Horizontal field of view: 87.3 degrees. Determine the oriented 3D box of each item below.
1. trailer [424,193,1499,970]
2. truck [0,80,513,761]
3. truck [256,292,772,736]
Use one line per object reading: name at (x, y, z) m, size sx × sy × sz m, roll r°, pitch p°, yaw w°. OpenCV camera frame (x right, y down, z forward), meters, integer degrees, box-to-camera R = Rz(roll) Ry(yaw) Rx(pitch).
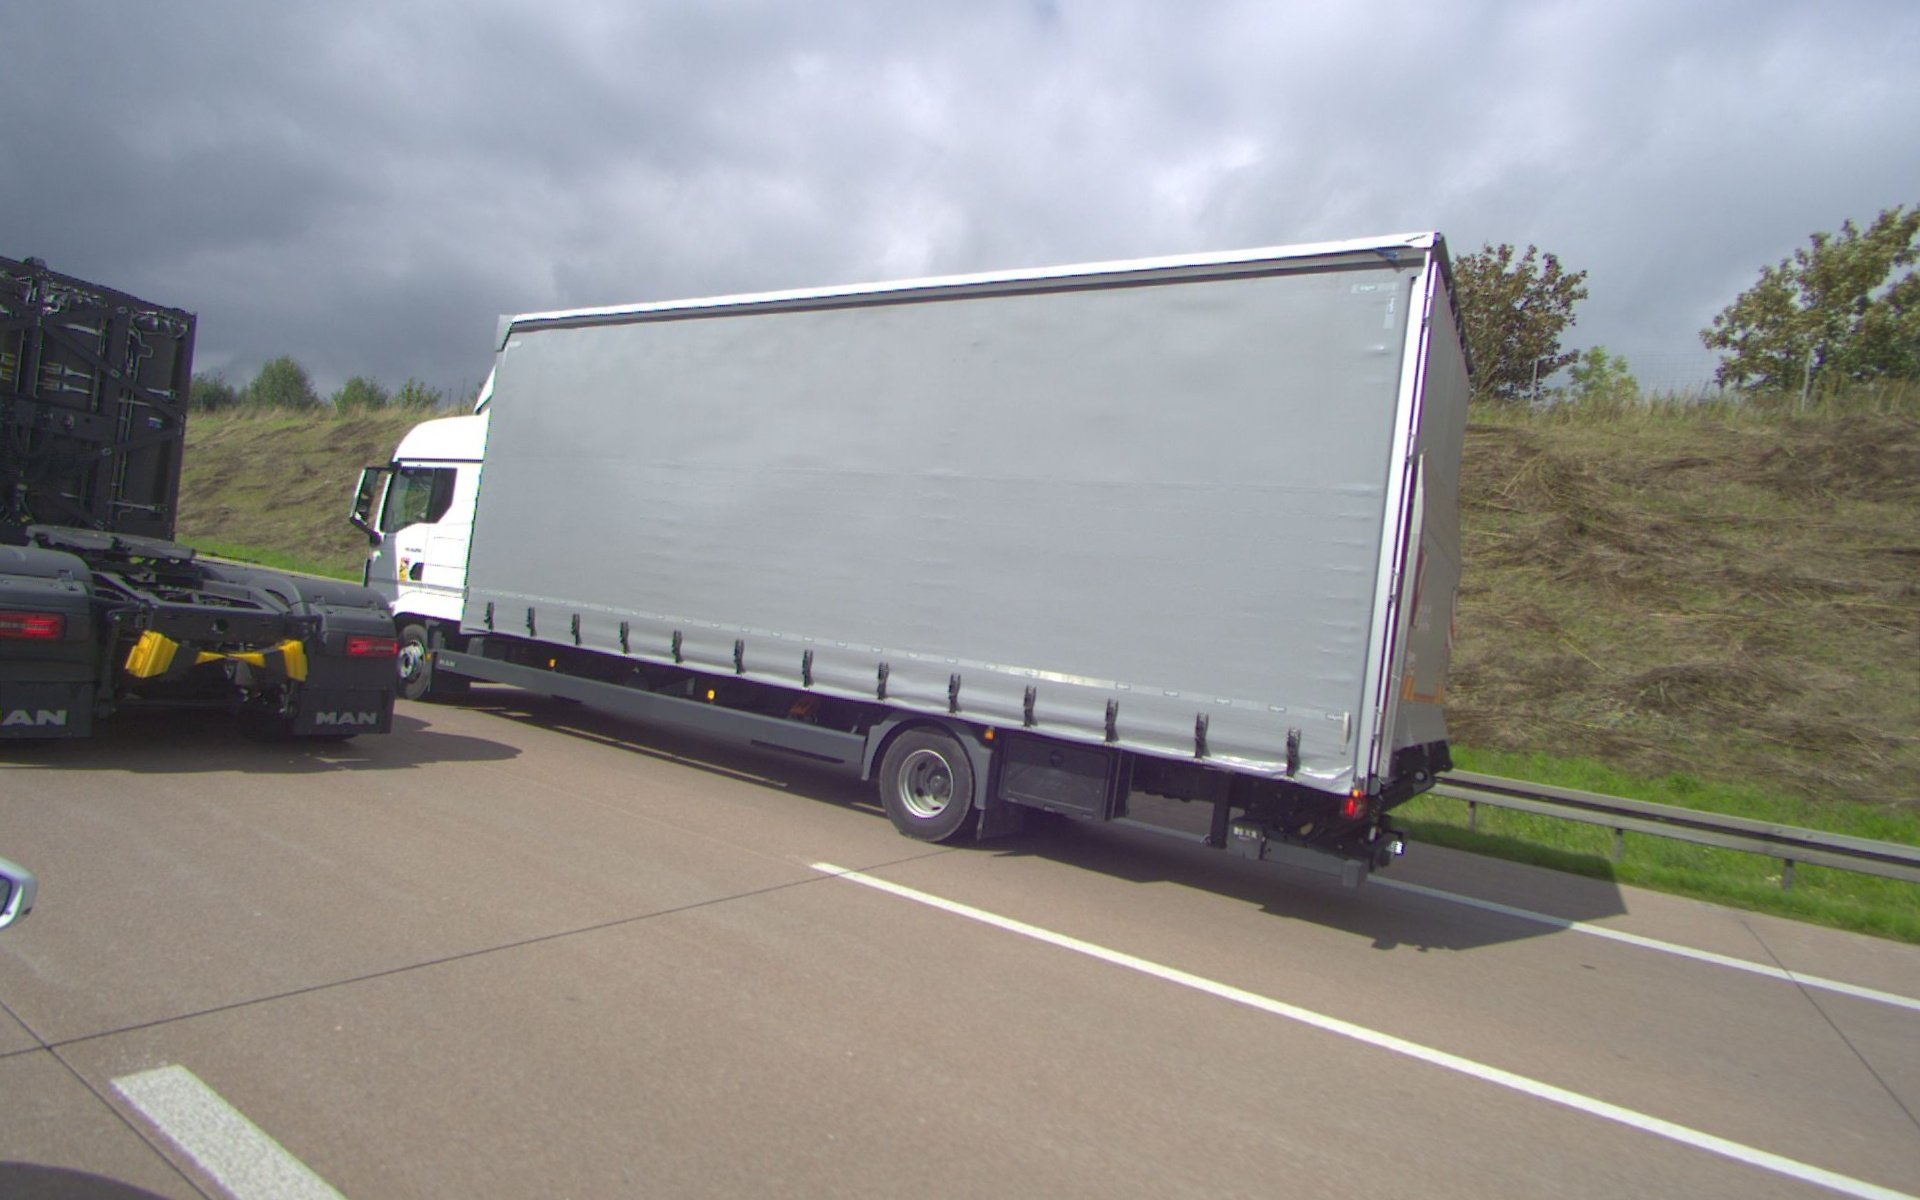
trailer at (-0.492, -0.378, 8.563) m, size 8.524 × 4.059 × 2.753 m, roll 6°, pitch -1°, yaw 30°
truck at (-7.856, -1.185, 8.566) m, size 8.179 × 3.591 × 2.854 m, roll 6°, pitch -2°, yaw 31°
truck at (-4.930, -0.836, 11.172) m, size 4.469 × 3.937 × 2.755 m, roll 7°, pitch -1°, yaw 30°
